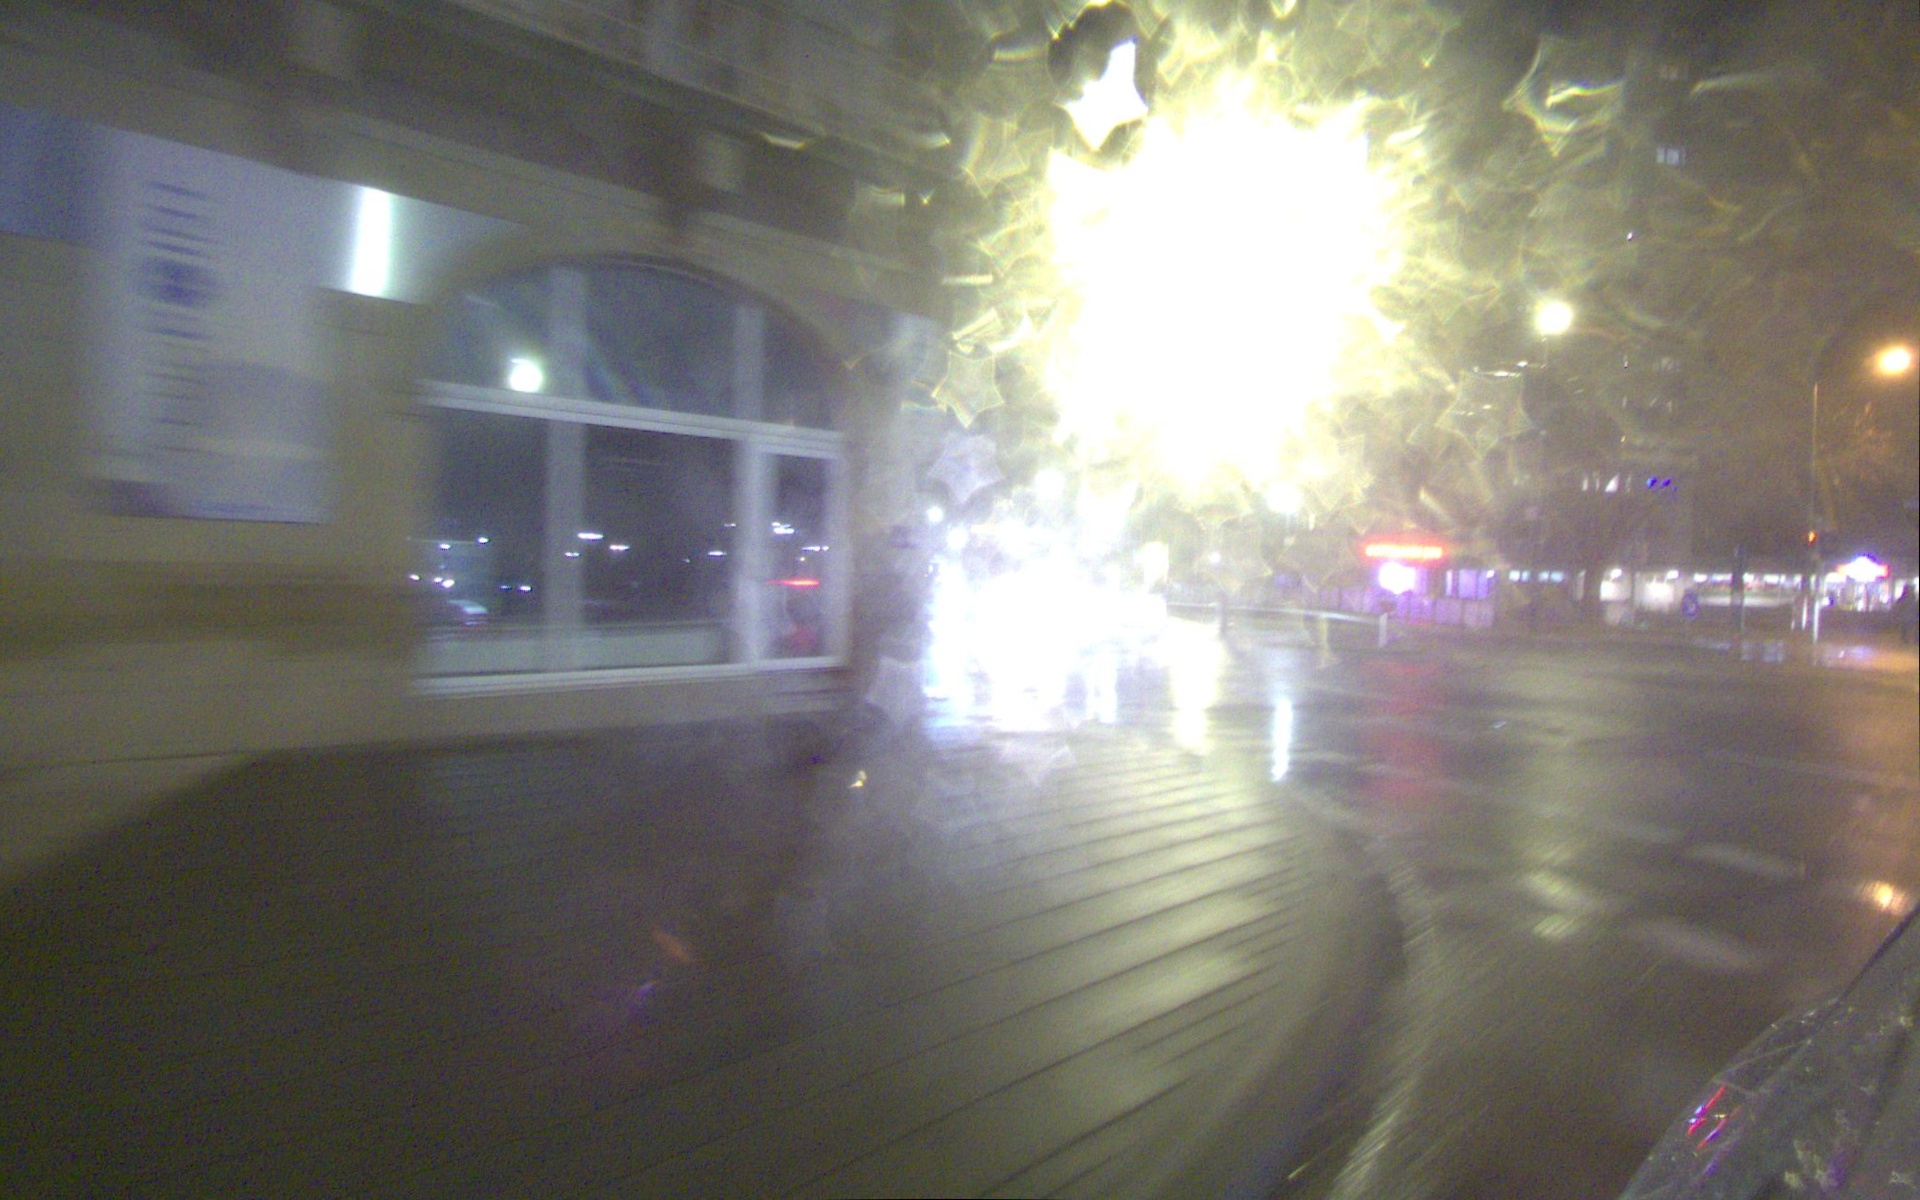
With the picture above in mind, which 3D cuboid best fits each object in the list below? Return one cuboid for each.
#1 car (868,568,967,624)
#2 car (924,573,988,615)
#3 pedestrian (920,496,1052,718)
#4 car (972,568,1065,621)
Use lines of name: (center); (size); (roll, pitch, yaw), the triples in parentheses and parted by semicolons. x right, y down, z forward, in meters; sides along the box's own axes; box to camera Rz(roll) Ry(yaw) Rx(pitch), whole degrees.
car: (-1.409, -0.152, 31.167); (1.881, 1.599, 4.600); (0, 1, -18)
car: (-0.217, -0.265, 40.222); (1.655, 1.599, 3.737); (0, 1, -15)
pedestrian: (0.270, 0.051, 9.939); (1.004, 2.039, 0.970); (1, 0, 22)
car: (1.793, -0.198, 32.430); (1.706, 1.599, 3.807); (0, 1, -18)
